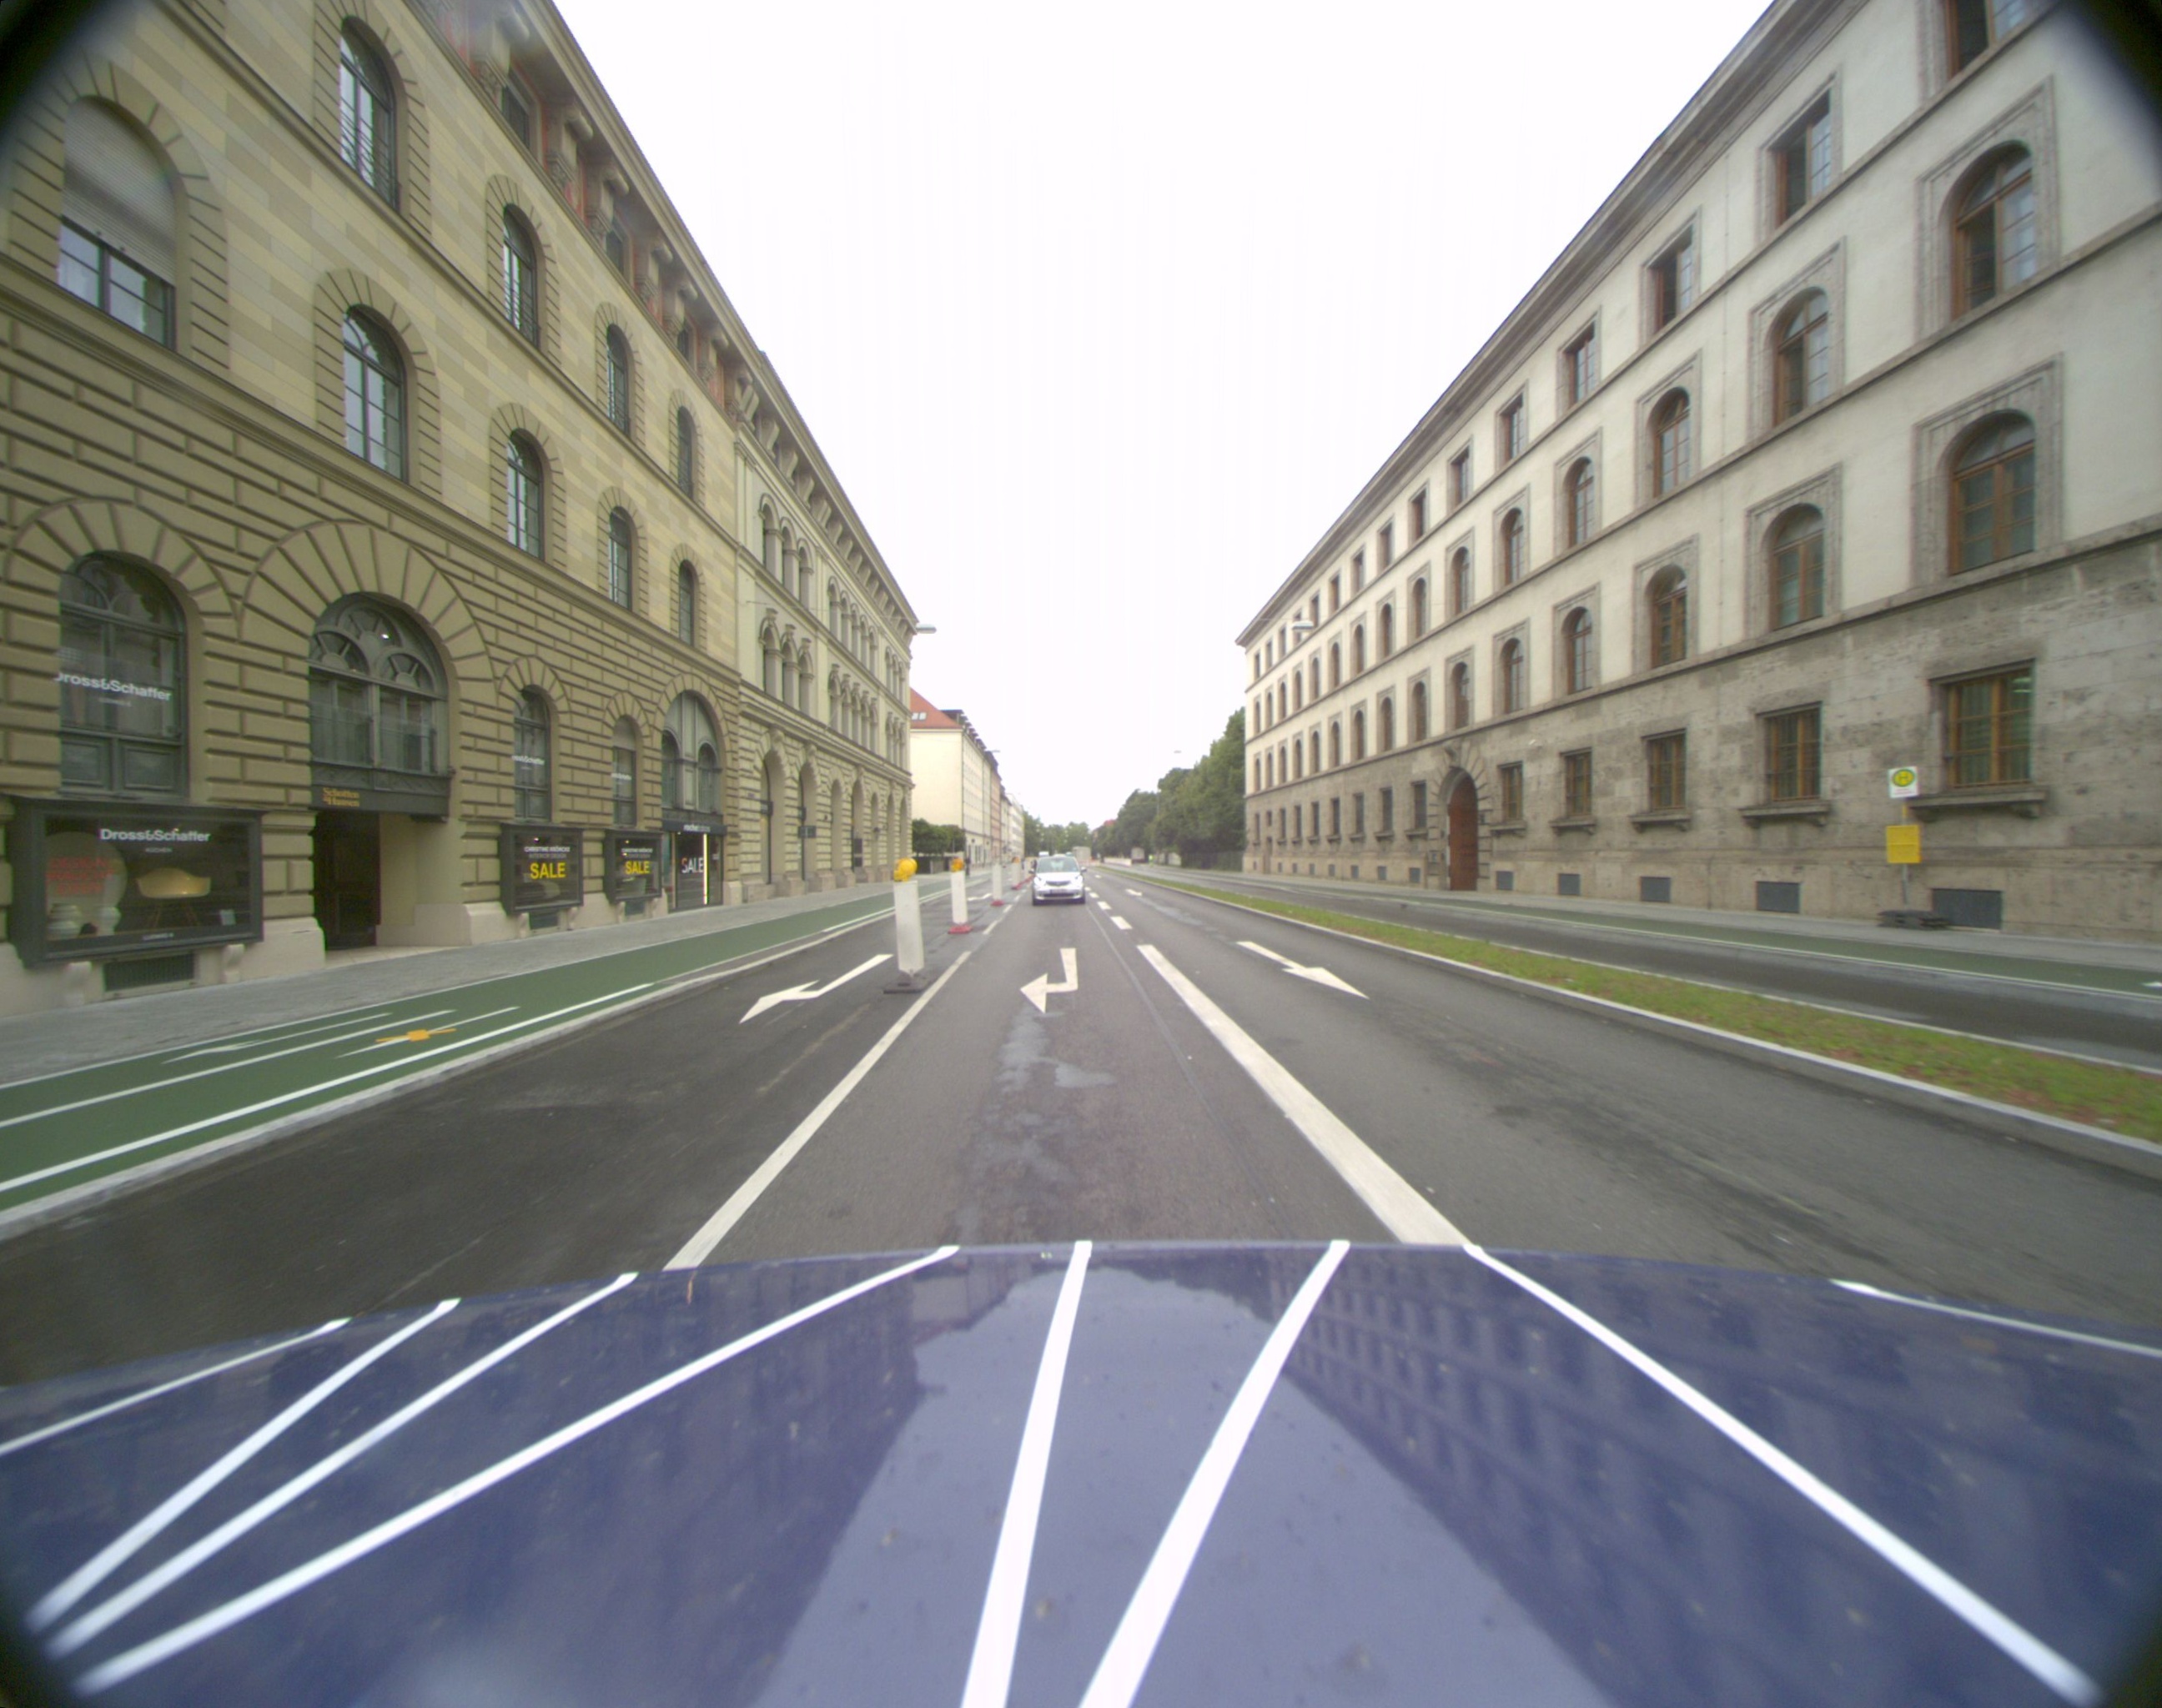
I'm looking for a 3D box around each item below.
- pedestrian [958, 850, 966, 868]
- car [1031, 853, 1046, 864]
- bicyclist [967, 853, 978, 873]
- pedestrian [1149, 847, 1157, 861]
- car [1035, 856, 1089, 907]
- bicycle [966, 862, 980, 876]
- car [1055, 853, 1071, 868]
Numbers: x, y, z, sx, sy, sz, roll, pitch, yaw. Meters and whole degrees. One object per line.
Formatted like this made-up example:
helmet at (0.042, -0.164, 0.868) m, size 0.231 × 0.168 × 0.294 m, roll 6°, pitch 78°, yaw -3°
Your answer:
pedestrian at (-12.305, 0.544, 78.495) m, size 0.655 × 1.863 × 0.825 m, roll 1°, pitch 1°, yaw -2°
car at (-5.536, 0.580, 99.237) m, size 1.740 × 1.425 × 3.999 m, roll -1°, pitch 0°, yaw -2°
bicyclist at (-8.322, 0.695, 58.275) m, size 0.724 × 1.543 × 0.858 m, roll -2°, pitch 1°, yaw -2°
pedestrian at (10.864, 0.003, 114.758) m, size 0.869 × 2.002 × 0.756 m, roll -3°, pitch 1°, yaw -44°
car at (-0.643, 0.851, 25.400) m, size 1.633 × 1.494 × 3.999 m, roll -1°, pitch 0°, yaw -2°
bicycle at (-8.298, 1.154, 58.253) m, size 0.751 × 1.026 × 2.530 m, roll -2°, pitch 0°, yaw -2°
car at (-2.418, 0.843, 102.358) m, size 1.999 × 2.002 × 3.999 m, roll 0°, pitch 0°, yaw -1°
